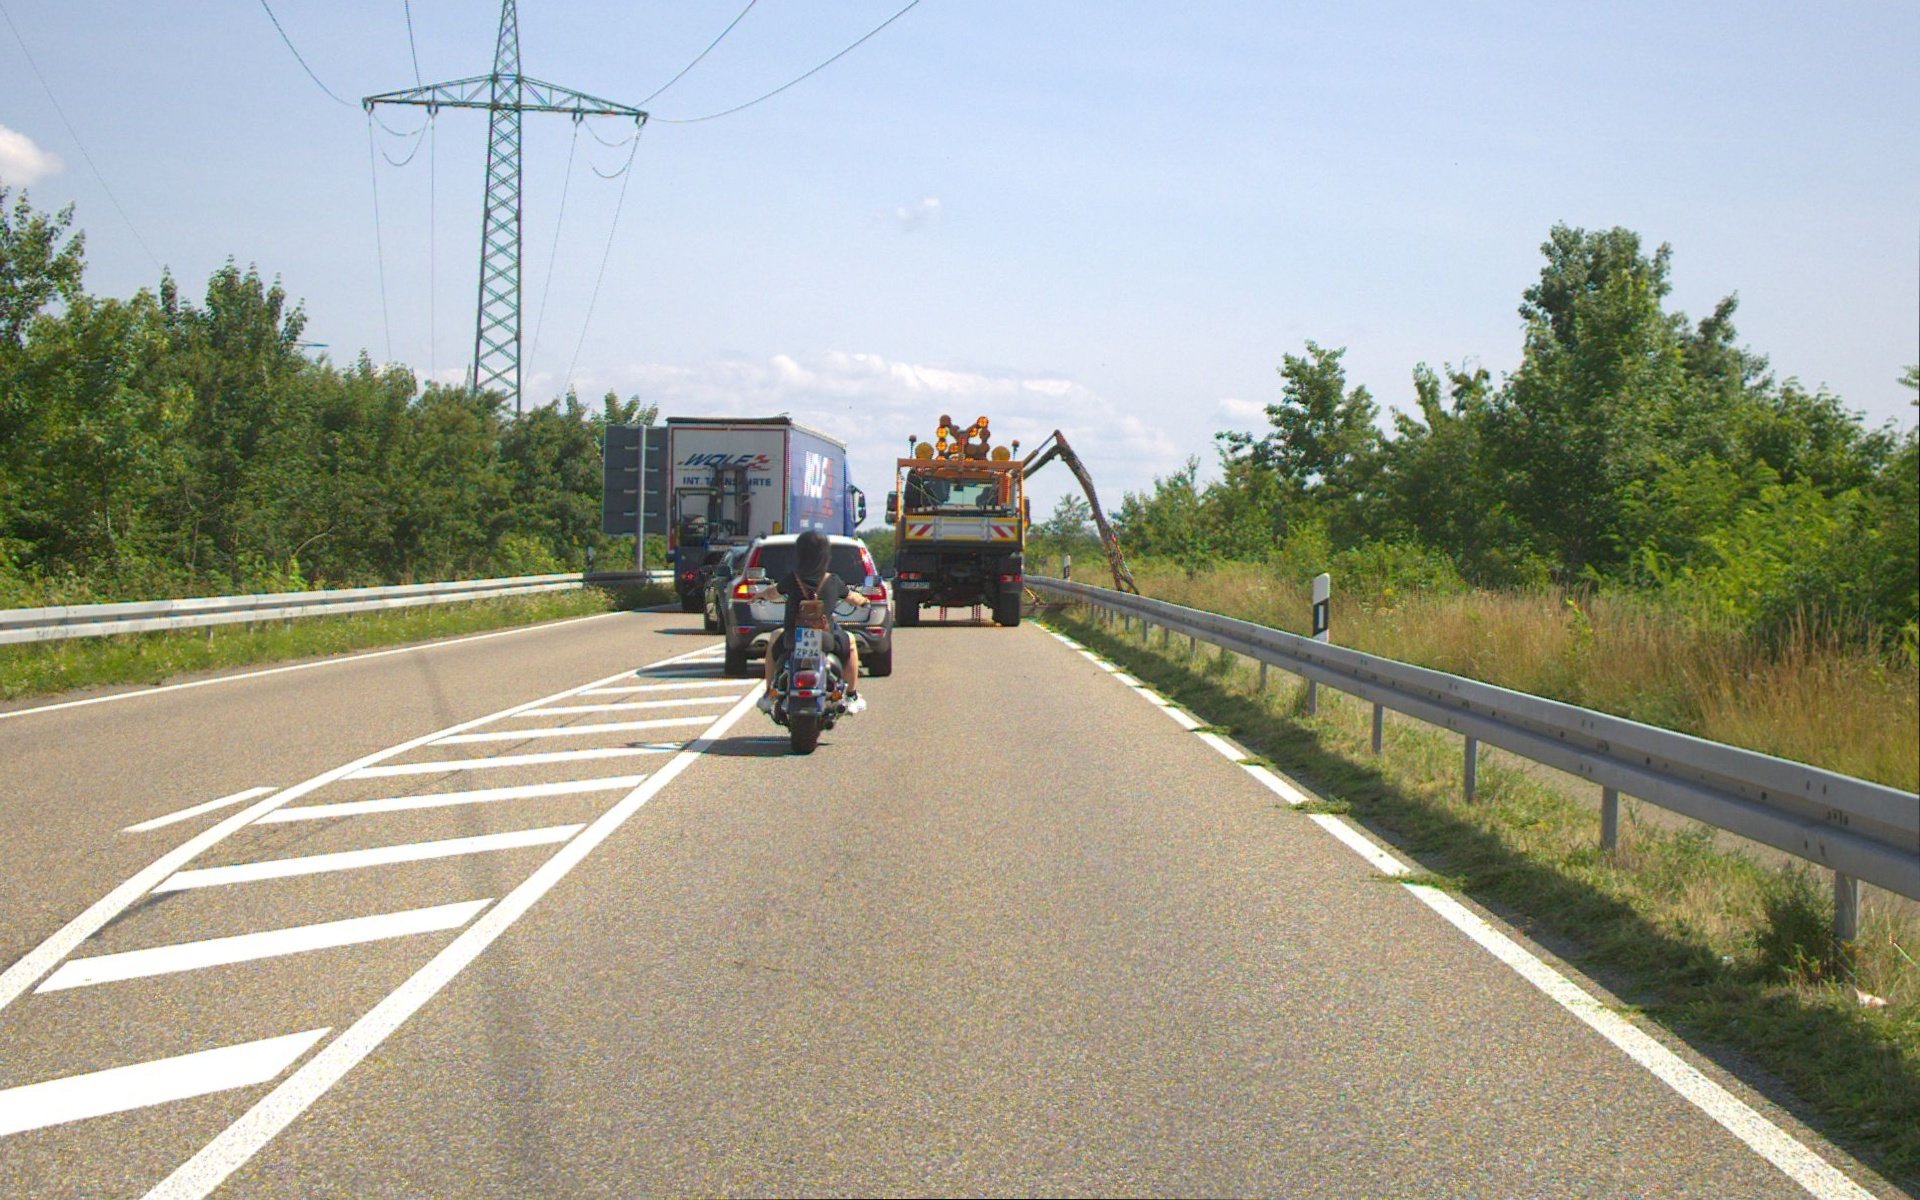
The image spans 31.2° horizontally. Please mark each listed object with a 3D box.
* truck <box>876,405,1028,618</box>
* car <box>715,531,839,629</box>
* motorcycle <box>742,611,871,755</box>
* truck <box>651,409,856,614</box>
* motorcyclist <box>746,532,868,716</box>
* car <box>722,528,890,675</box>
[{"bbox_3d":[-0.138,-1.625,63.725,2.614,3.698,6.778,1,1,0],"label":"truck"},{"bbox_3d":[-2.925,-0.352,55.584,1.855,1.484,3.741,1,1,-1],"label":"car"},{"bbox_3d":[-1.076,0.565,24.383,0.859,0.912,2.228,1,1,-2],"label":"motorcycle"},{"bbox_3d":[-4.486,-1.967,78.316,2.968,4.172,14.821,1,1,3],"label":"truck"},{"bbox_3d":[-1.086,0.160,24.558,0.837,1.276,0.919,1,1,-2],"label":"motorcyclist"},{"bbox_3d":[-1.756,-0.022,38.197,1.700,1.531,3.500,1,1,-5],"label":"car"}]
